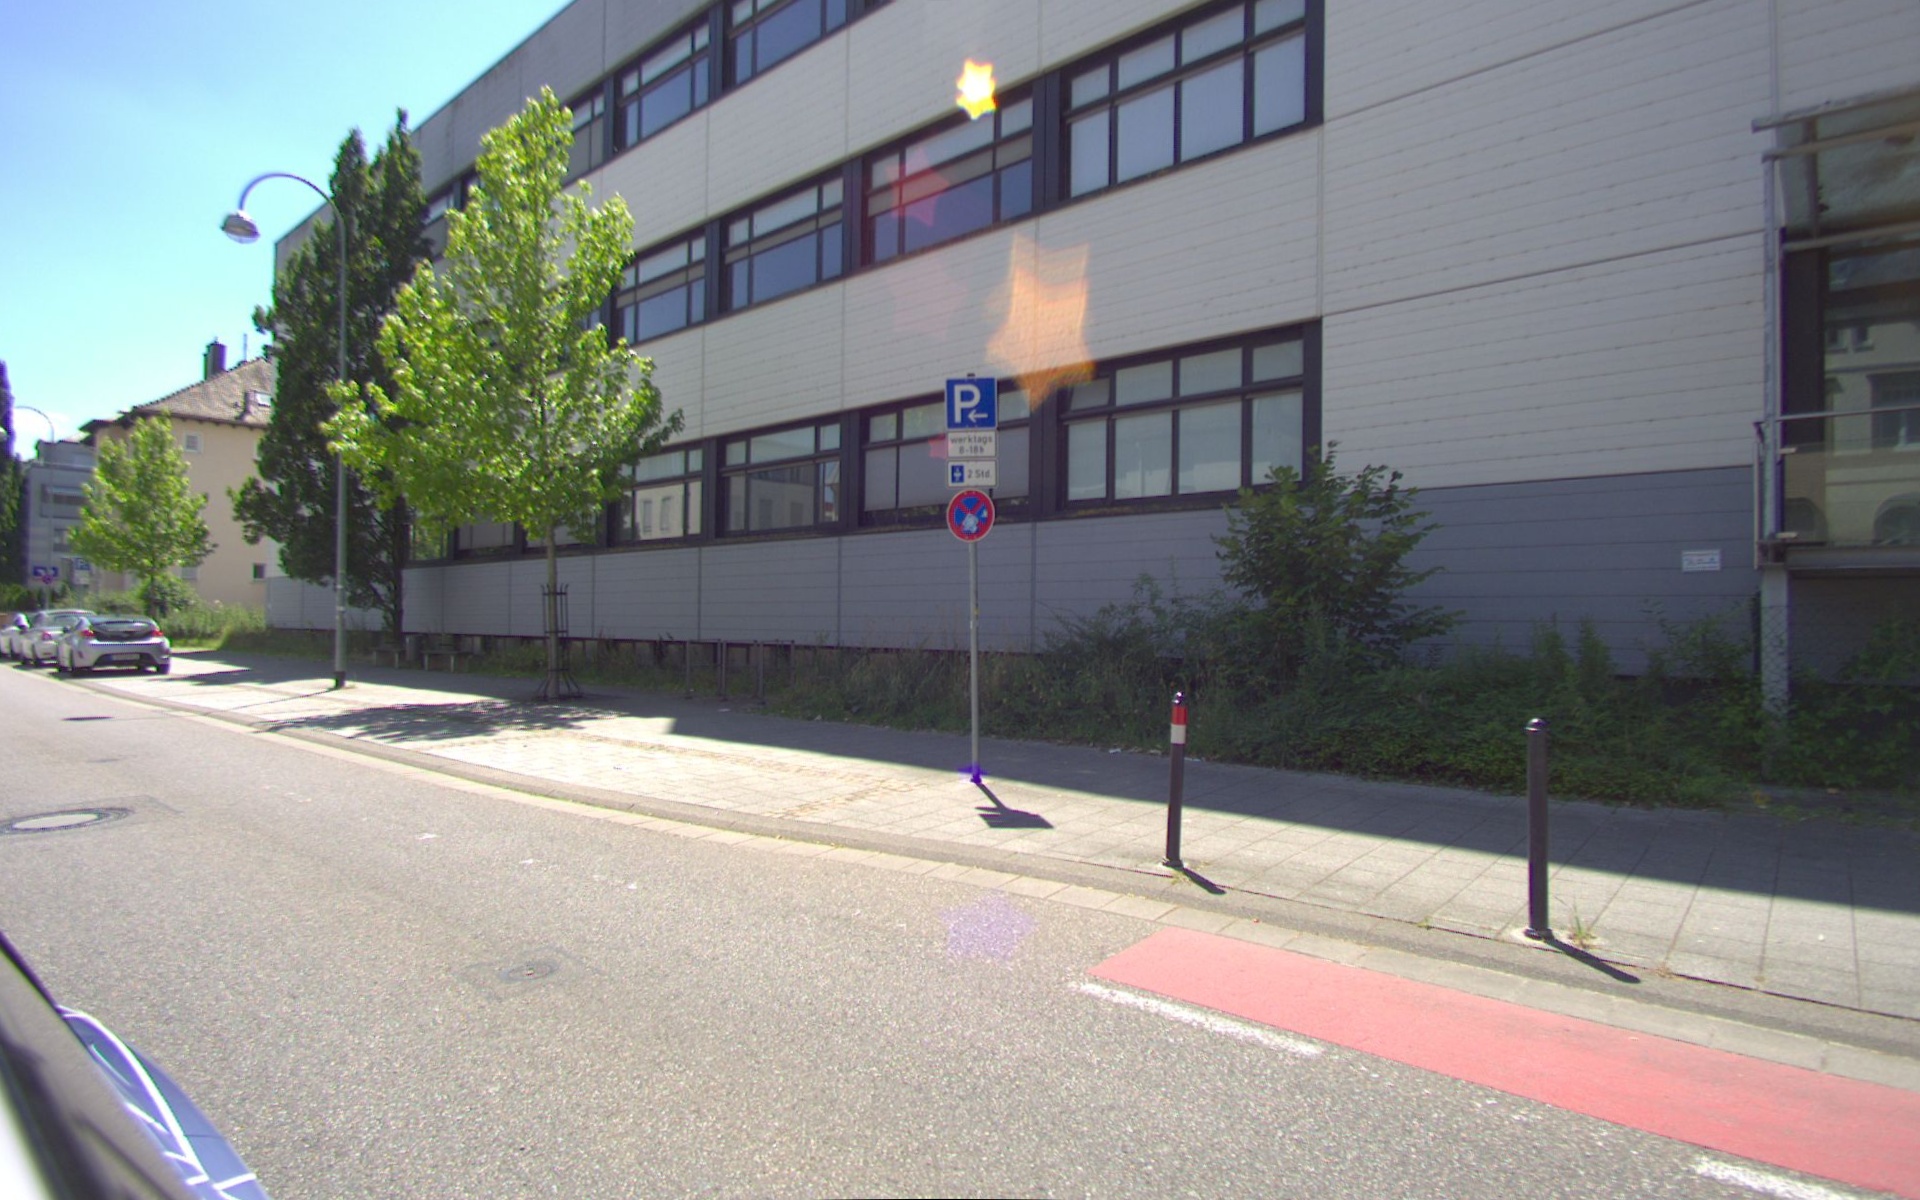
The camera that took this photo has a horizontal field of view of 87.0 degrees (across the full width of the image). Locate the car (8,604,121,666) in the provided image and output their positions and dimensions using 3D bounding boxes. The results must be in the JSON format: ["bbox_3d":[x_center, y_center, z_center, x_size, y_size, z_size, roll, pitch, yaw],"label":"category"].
[{"bbox_3d":[-24.603,0.903,27.755,4.287,1.523,1.803,0,0,41],"label":"car"}]

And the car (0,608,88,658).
[{"bbox_3d":[-28.472,0.967,31.201,4.575,1.422,1.803,0,0,41],"label":"car"}]

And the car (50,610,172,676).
[{"bbox_3d":[-20.261,0.970,24.095,3.932,1.420,1.729,-1,0,42],"label":"car"}]
